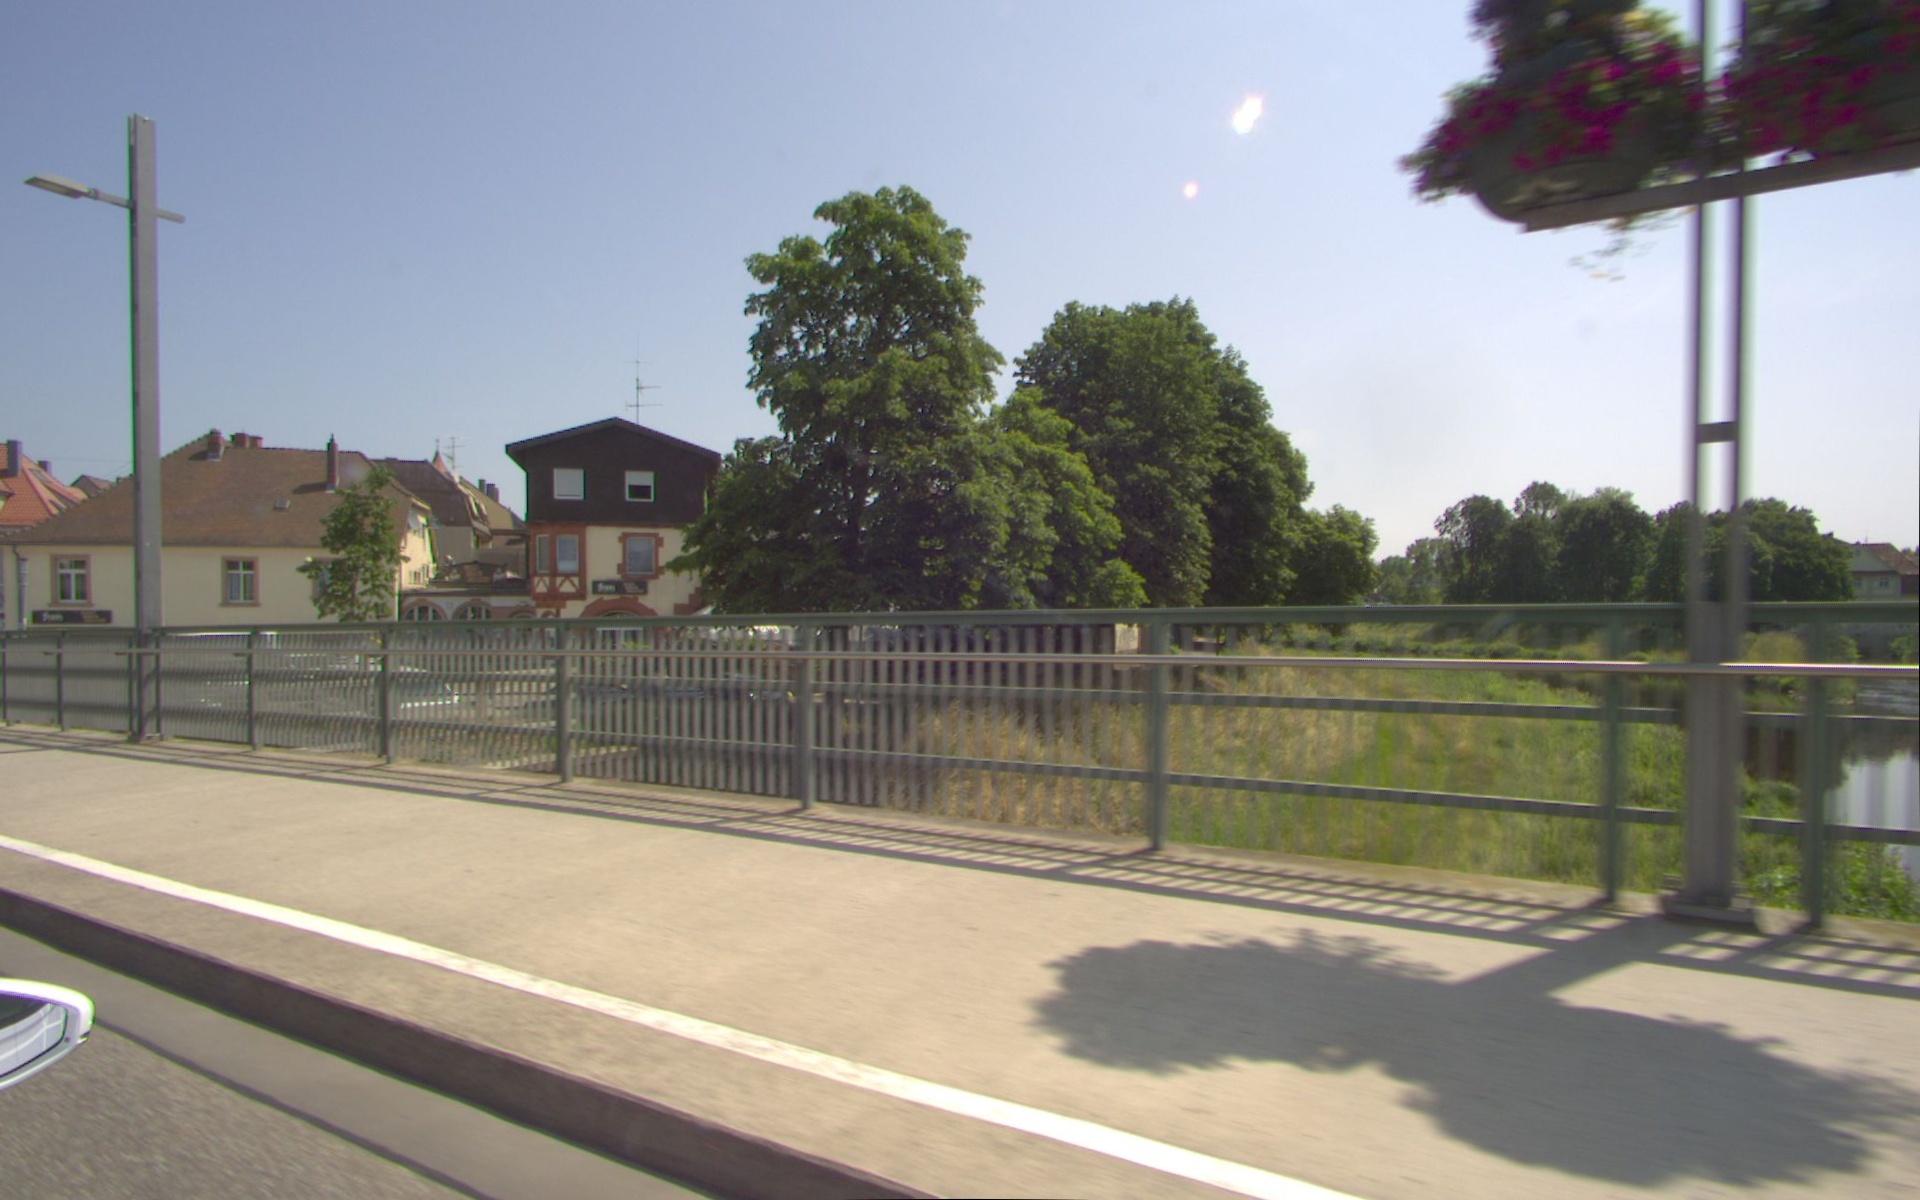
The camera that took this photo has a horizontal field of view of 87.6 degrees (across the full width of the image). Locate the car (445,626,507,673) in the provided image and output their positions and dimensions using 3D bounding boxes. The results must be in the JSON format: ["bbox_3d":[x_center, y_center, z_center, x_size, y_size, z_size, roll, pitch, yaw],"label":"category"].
[{"bbox_3d":[-22.038,2.219,45.760,1.631,2.039,3.997,1,-1,-13],"label":"car"}]

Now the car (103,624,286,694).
[{"bbox_3d":[-30.950,2.331,40.754,5.545,2.662,2.233,1,-1,-26],"label":"car"}]

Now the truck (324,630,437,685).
[{"bbox_3d":[-24.952,2.464,43.267,4.006,2.243,1.807,1,-1,-25],"label":"truck"}]

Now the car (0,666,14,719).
[{"bbox_3d":[-29.394,2.713,29.398,4.201,1.490,1.746,-2,-3,38],"label":"car"}]
